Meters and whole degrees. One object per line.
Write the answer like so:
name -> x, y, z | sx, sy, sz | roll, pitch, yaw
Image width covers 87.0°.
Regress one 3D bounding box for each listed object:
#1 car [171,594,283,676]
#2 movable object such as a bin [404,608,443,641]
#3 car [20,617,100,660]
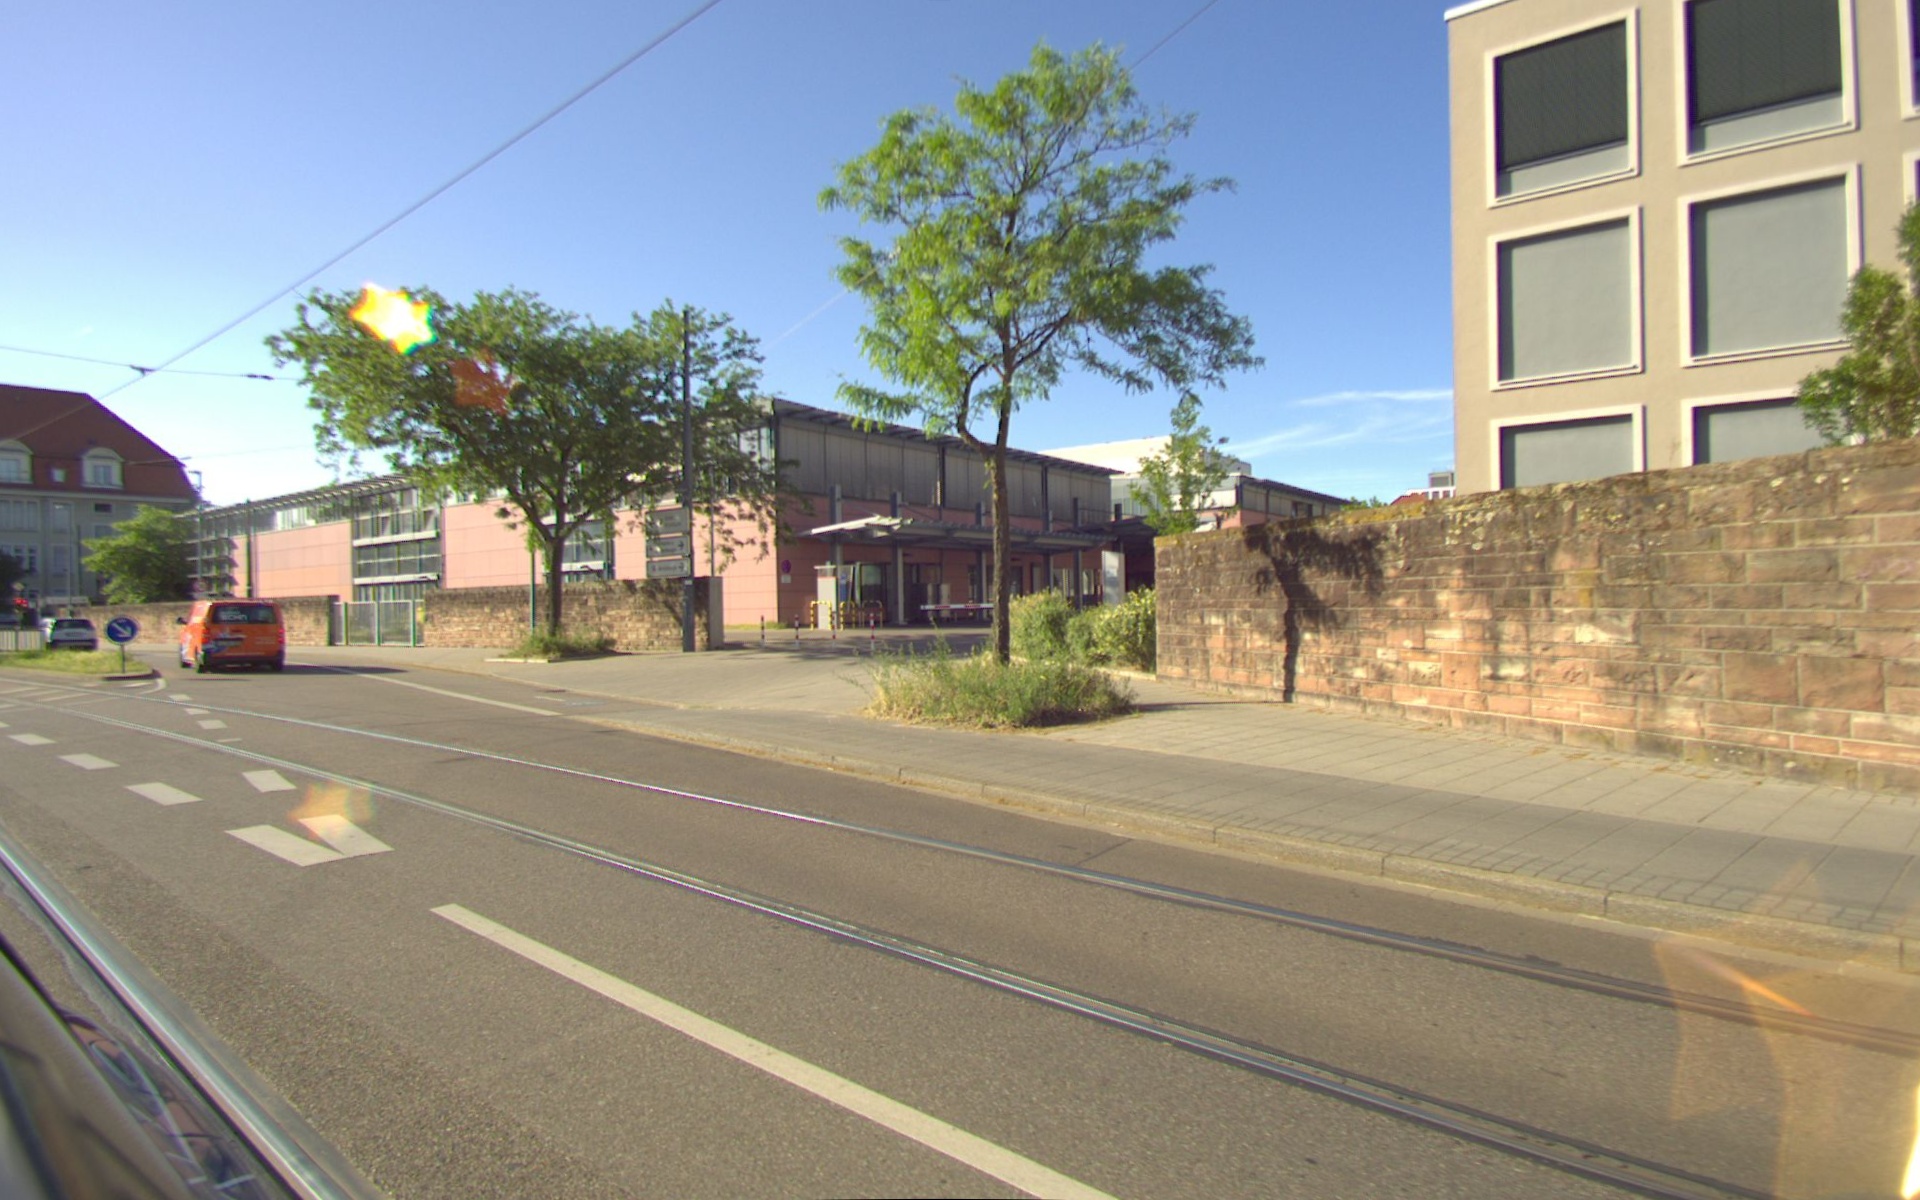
car -> -19.791, 0.898, 27.233 | 1.969, 1.980, 4.941 | -1, 0, -41
movable object such as a bin -> -21.635, 0.976, 40.825 | 1.306, 1.295, 0.873 | -1, -1, 35
car -> -37.607, 1.574, 42.262 | 4.203, 1.676, 1.748 | -1, -1, 38
